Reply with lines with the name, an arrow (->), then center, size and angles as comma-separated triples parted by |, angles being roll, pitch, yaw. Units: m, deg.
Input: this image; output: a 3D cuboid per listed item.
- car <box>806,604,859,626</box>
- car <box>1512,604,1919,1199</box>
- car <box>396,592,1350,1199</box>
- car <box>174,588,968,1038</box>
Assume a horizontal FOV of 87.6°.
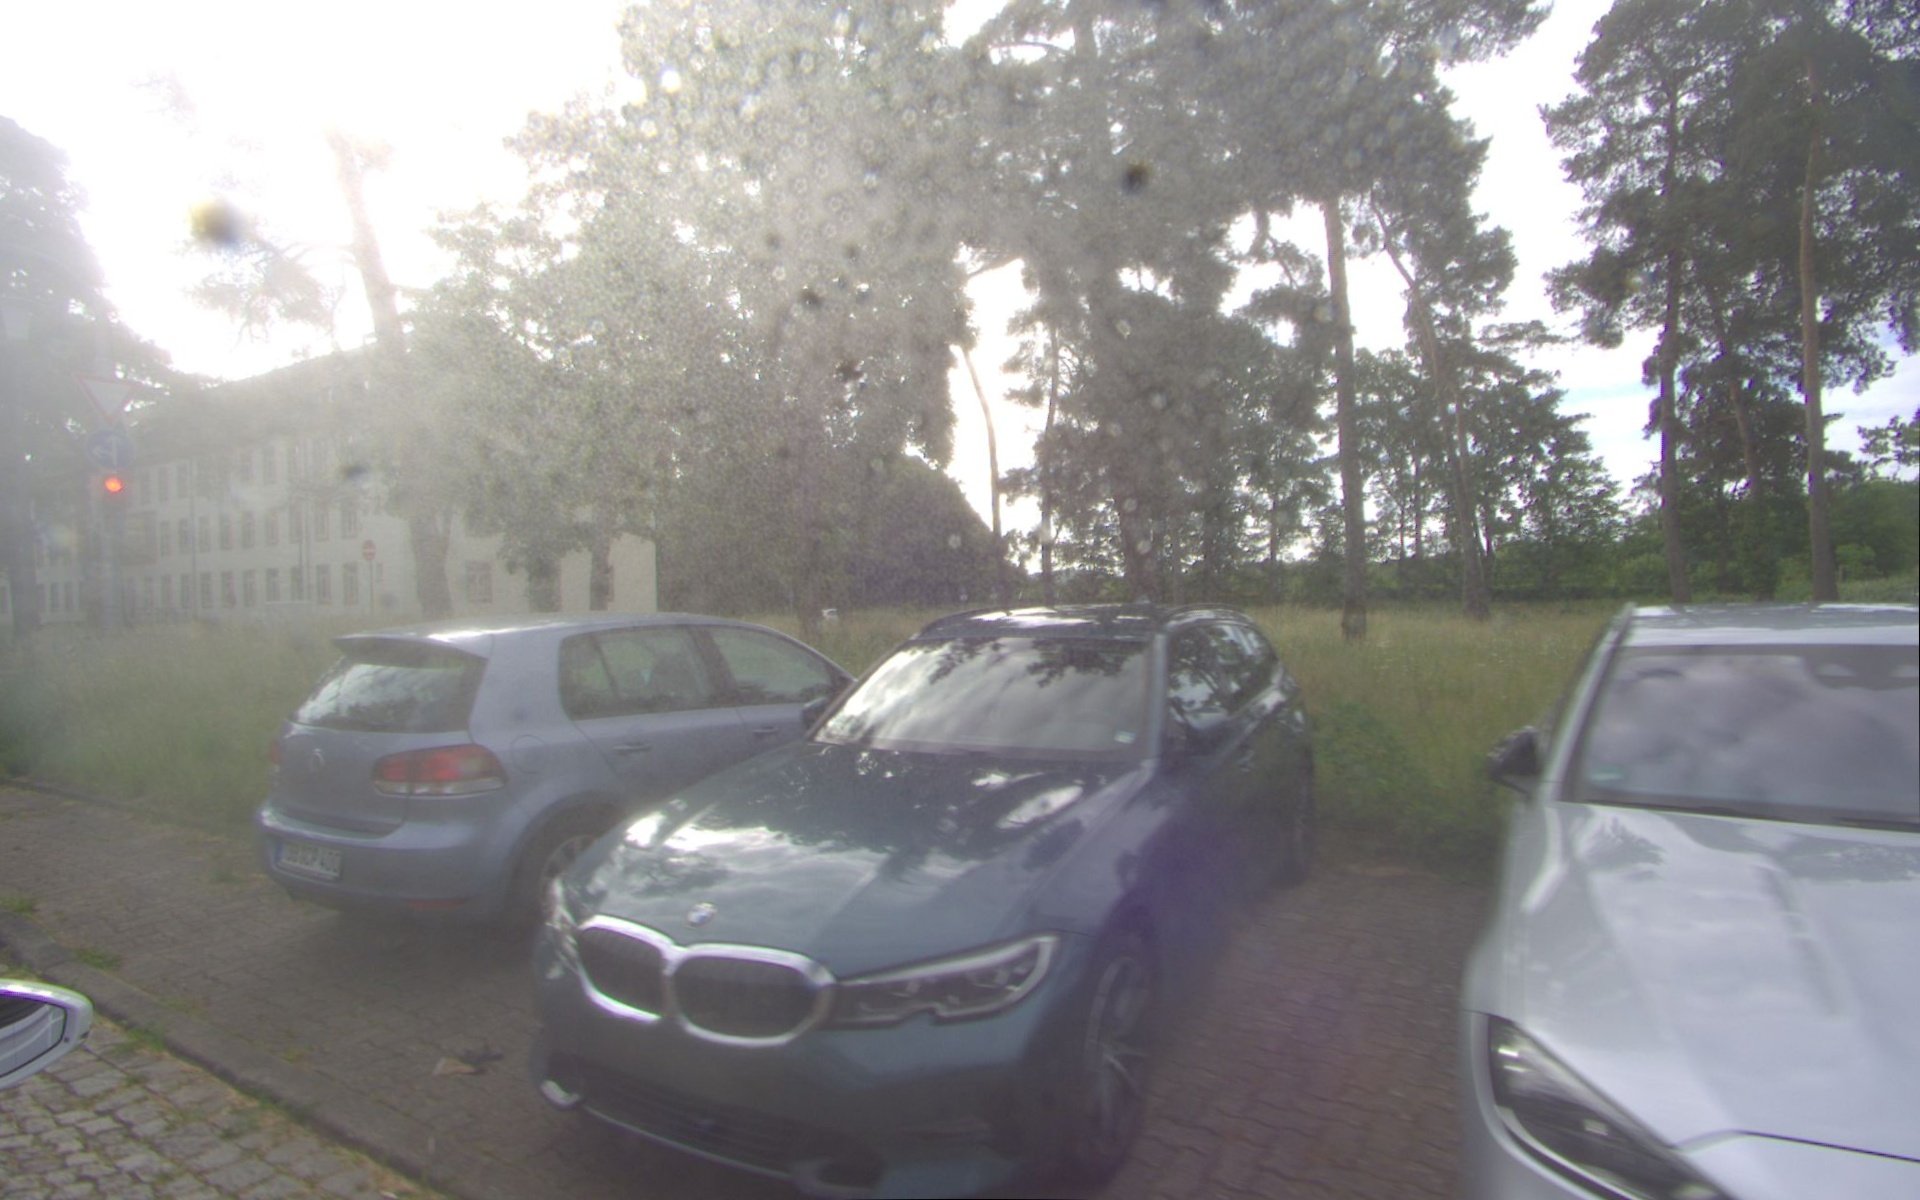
car -> -9.282, 1.101, 73.046 | 1.628, 1.439, 3.939 | -1, -3, 34
car -> 2.581, 0.817, 2.755 | 1.842, 1.436, 4.415 | 0, 2, 29
car -> 0.382, 0.758, 4.398 | 1.843, 1.436, 4.673 | 0, 2, 29
car -> -1.702, 0.743, 5.621 | 1.619, 1.497, 3.916 | 0, 2, 33
